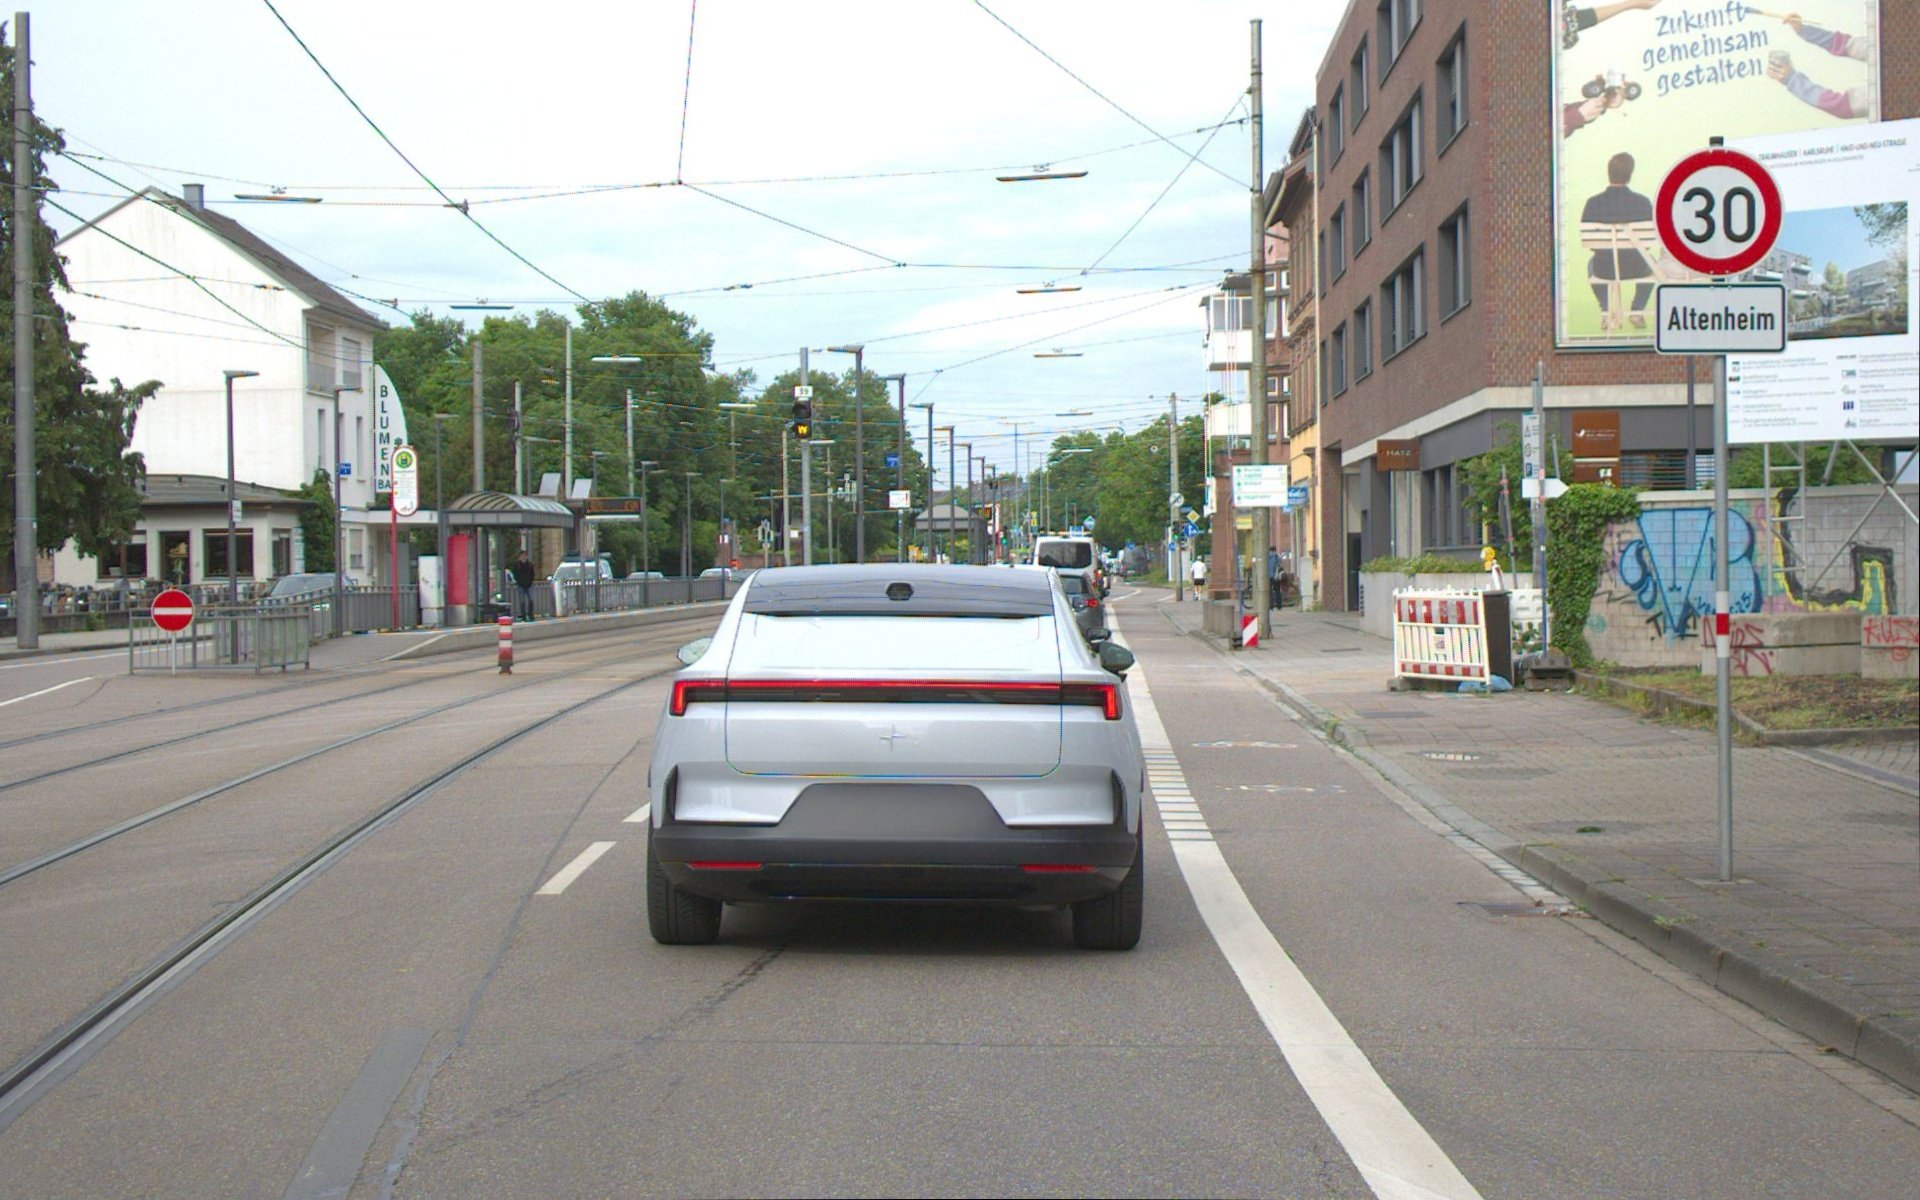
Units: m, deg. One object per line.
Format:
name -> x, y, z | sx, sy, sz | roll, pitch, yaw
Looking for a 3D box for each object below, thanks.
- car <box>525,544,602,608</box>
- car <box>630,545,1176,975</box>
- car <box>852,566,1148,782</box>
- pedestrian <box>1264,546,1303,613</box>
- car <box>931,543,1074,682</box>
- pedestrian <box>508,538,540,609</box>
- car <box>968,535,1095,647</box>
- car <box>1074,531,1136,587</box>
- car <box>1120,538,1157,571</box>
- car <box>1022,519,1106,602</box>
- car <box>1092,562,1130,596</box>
car -> -12.804, -0.783, 111.185 | 1.884, 1.982, 4.525 | -1, 1, 1
car -> -0.280, 0.584, 14.659 | 1.999, 1.575, 4.000 | 0, 0, -2
car -> 0.312, 0.485, 25.528 | 1.993, 1.415, 4.000 | -1, 1, 1
pedestrian -> 9.197, -0.588, 97.614 | 0.961, 1.844, 0.975 | -3, 1, 9
car -> 0.574, 0.140, 43.553 | 1.681, 1.682, 3.823 | 0, 0, 3
pedestrian -> -10.343, -0.632, 81.624 | 0.615, 1.659, 0.697 | 0, 0, 6
car -> 1.189, -0.181, 58.707 | 1.993, 1.809, 4.000 | -1, 1, -1
car -> 5.208, -1.471, 124.154 | 1.993, 2.007, 4.000 | 0, 0, -1
car -> 13.623, -3.472, 262.989 | 2.807, 2.496, 5.722 | 0, 0, 2
car -> 3.069, -1.154, 102.331 | 2.226, 2.394, 5.123 | 0, 0, -1
car -> 8.976, -1.242, 204.838 | 1.993, 2.007, 4.000 | 0, 0, -1
